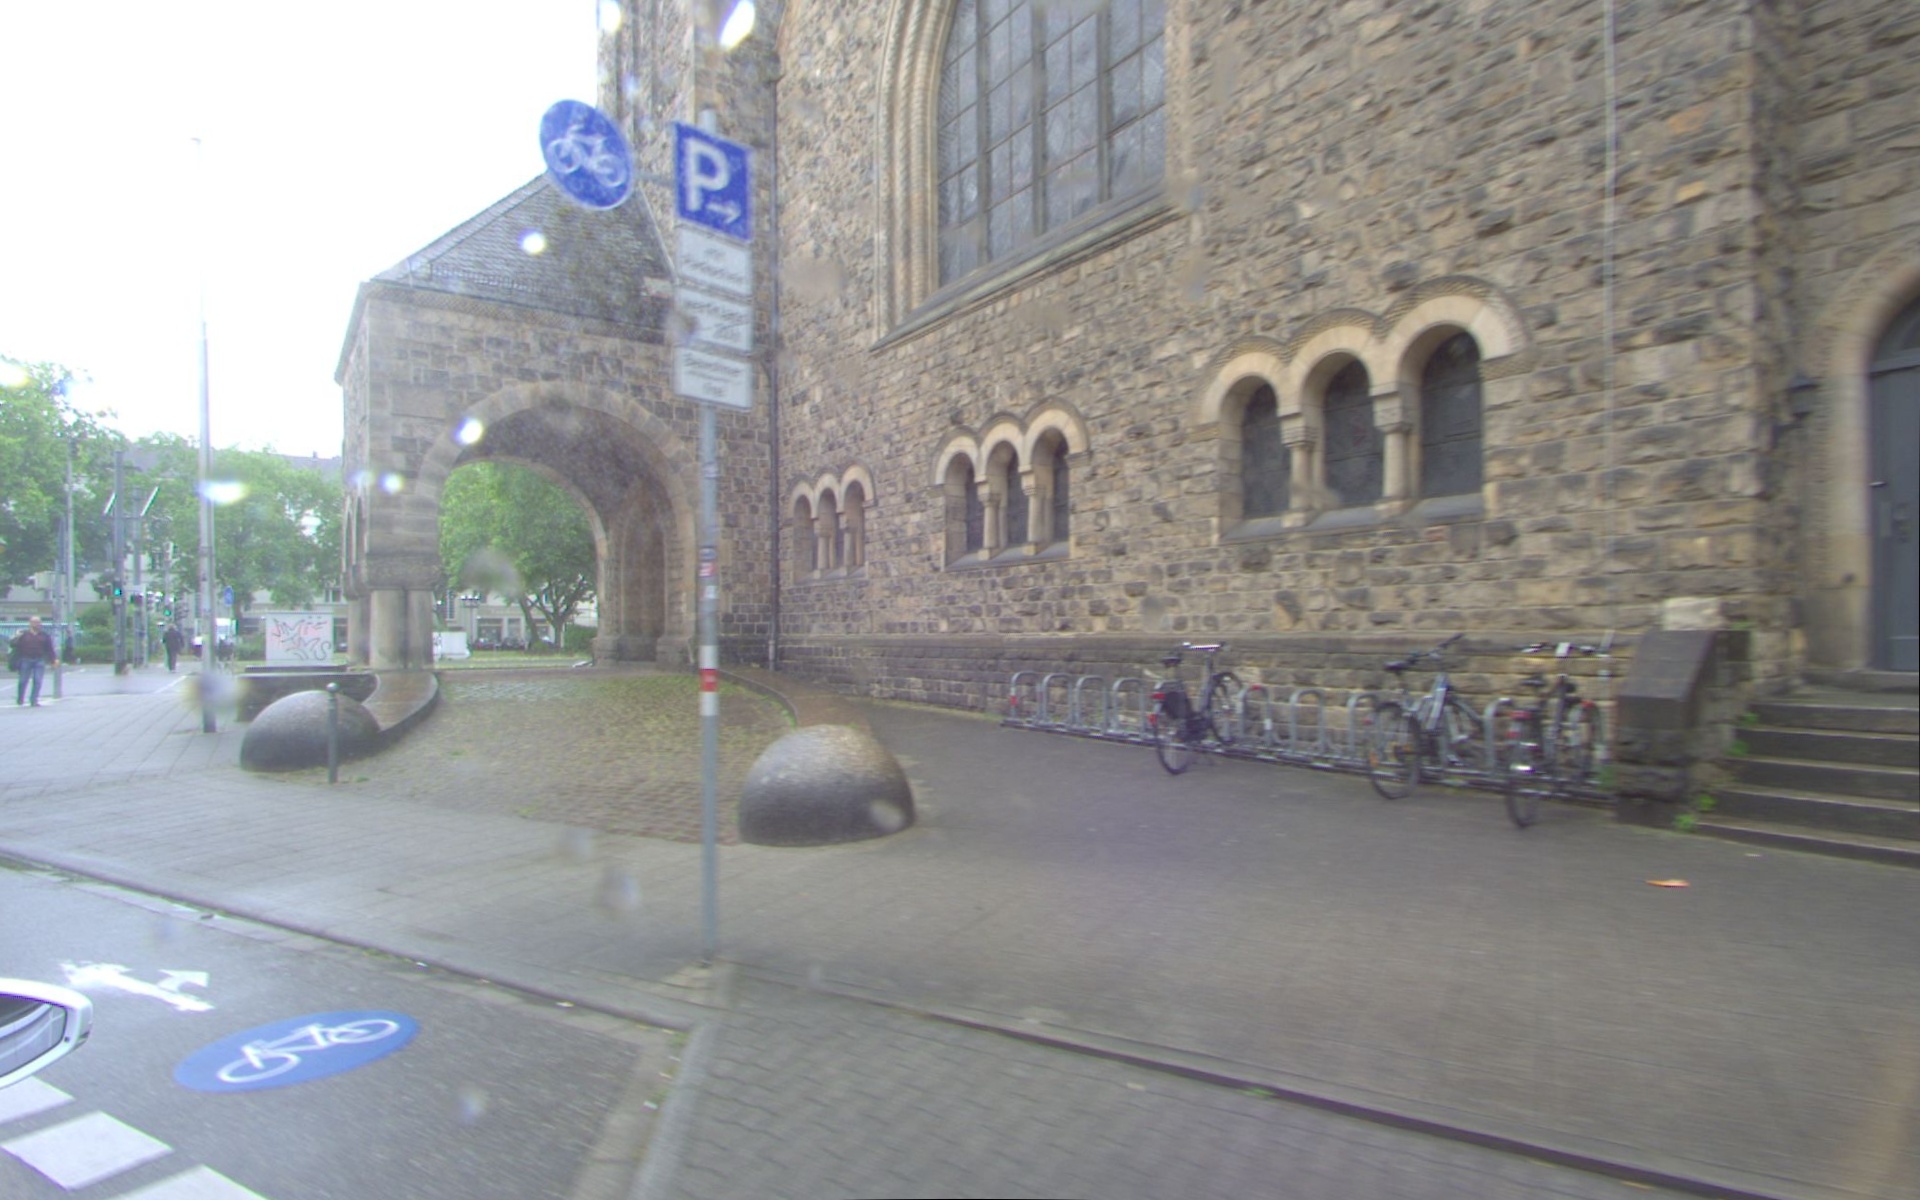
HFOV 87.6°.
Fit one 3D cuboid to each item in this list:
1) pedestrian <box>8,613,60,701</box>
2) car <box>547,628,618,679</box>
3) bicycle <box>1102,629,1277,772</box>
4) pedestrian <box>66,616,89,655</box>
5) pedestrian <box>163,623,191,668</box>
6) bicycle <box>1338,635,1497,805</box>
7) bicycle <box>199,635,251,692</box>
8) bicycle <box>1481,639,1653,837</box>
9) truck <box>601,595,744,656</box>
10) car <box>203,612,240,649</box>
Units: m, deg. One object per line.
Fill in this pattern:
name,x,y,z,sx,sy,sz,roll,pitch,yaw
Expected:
pedestrian,-19.416,1.181,21.001,0.780,1.782,0.936,0,0,-43
car,-11.761,1.624,31.102,1.389,1.498,3.200,1,-2,-34
bicycle,2.183,0.874,9.328,0.684,1.119,1.973,-2,0,43
pedestrian,-45.865,1.845,52.038,0.797,2.040,0.586,0,-1,-31
pedestrian,-29.119,1.682,37.242,0.775,1.667,0.651,0,0,-34
bicycle,3.621,0.874,7.854,1.697,1.126,0.556,-2,0,-45
bicycle,-15.733,1.340,21.415,2.049,1.169,0.327,-1,-1,37
bicycle,4.116,0.839,6.712,1.971,1.068,0.507,-2,0,-45
truck,-17.878,1.600,62.575,8.330,3.570,2.361,1,-1,-35
car,-52.939,2.196,71.823,1.888,2.588,4.757,0,-1,-34
